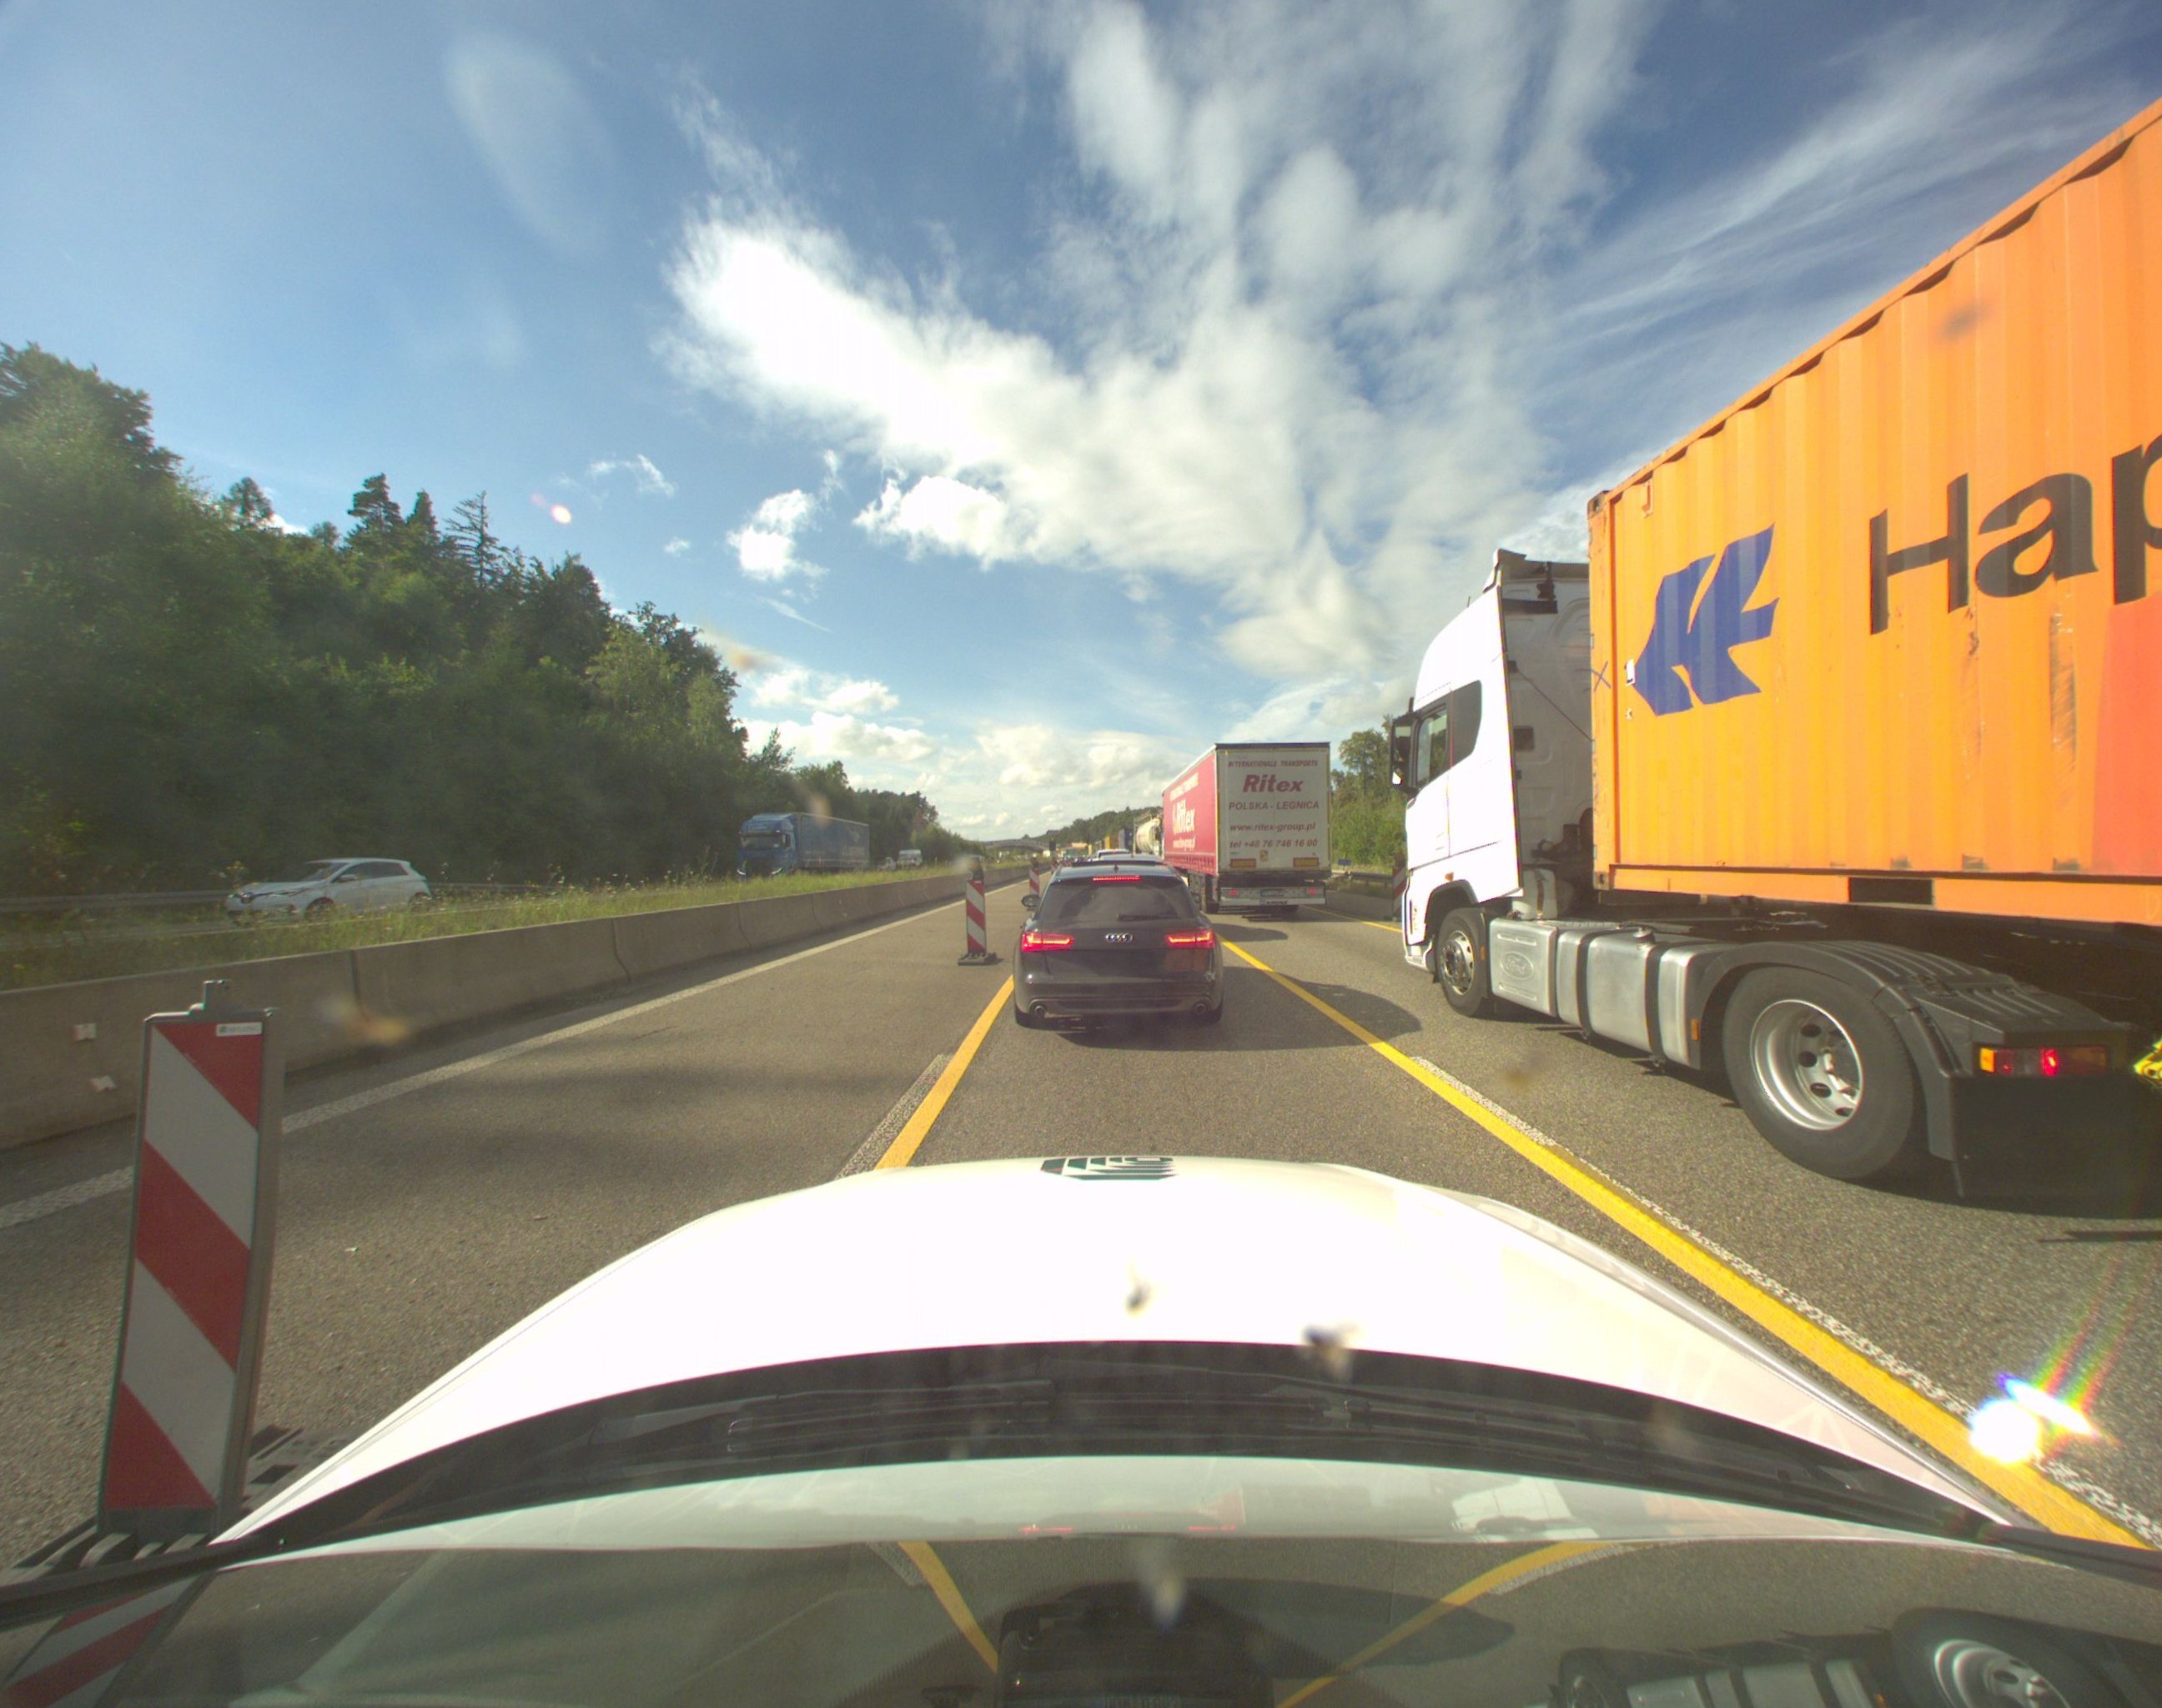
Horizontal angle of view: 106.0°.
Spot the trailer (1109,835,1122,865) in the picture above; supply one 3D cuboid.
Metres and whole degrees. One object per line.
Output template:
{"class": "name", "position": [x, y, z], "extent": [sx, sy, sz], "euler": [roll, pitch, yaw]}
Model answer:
{"class": "trailer", "position": [4.674, -0.449, 109.985], "extent": [1.611, 3.918, 6.490], "euler": [0, -1, 1]}

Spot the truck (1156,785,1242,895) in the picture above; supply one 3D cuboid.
{"class": "truck", "position": [4.504, -0.498, 32.105], "extent": [2.658, 3.959, 5.711], "euler": [0, 0, 1]}

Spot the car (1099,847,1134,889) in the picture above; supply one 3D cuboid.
{"class": "car", "position": [1.618, 0.637, 37.543], "extent": [1.575, 1.837, 3.113], "euler": [0, -1, 2]}

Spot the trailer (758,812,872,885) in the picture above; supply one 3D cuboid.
{"class": "trailer", "position": [-16.846, -0.313, 52.999], "extent": [2.610, 4.141, 13.377], "euler": [-1, 0, 2]}

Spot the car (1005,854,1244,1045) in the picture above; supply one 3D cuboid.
{"class": "car", "position": [0.403, 0.767, 8.372], "extent": [1.842, 1.463, 4.001], "euler": [-1, -1, 2]}

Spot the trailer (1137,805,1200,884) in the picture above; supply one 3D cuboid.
{"class": "trailer", "position": [4.828, -0.445, 47.025], "extent": [2.634, 3.943, 12.602], "euler": [0, 0, 2]}

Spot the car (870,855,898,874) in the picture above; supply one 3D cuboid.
{"class": "car", "position": [-21.345, 1.178, 88.294], "extent": [1.986, 2.014, 4.001], "euler": [0, -1, 2]}

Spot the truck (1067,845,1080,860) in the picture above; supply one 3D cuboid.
{"class": "truck", "position": [-2.202, -0.471, 242.127], "extent": [3.297, 4.175, 9.689], "euler": [-1, -1, -3]}

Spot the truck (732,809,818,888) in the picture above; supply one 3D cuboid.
{"class": "truck", "position": [-17.089, -0.293, 45.865], "extent": [2.628, 4.189, 5.469], "euler": [-1, 0, 2]}

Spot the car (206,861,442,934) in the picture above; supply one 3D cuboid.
{"class": "car", "position": [-17.768, 0.946, 19.415], "extent": [1.780, 1.560, 4.001], "euler": [0, -1, 2]}

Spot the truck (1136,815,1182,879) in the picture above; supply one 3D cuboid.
{"class": "truck", "position": [5.030, -0.417, 53.332], "extent": [2.649, 3.972, 5.780], "euler": [0, -1, 2]}

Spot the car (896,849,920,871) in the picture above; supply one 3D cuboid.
{"class": "car", "position": [-20.838, 0.750, 98.154], "extent": [2.247, 2.643, 5.009], "euler": [0, -1, -6]}

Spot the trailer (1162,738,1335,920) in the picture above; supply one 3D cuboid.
{"class": "trailer", "position": [4.351, -0.535, 24.590], "extent": [2.690, 3.969, 13.420], "euler": [0, 0, 1]}

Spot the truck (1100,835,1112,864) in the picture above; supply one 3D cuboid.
{"class": "truck", "position": [4.384, -0.826, 143.298], "extent": [1.987, 4.914, 9.562], "euler": [0, 0, 0]}

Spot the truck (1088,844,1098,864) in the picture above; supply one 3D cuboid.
{"class": "truck", "position": [2.624, 0.020, 175.619], "extent": [2.130, 4.257, 7.073], "euler": [0, -1, 1]}

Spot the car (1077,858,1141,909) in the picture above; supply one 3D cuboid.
{"class": "car", "position": [0.826, 0.823, 24.137], "extent": [1.745, 1.397, 3.609], "euler": [0, -1, 2]}

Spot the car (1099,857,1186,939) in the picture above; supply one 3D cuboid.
{"class": "car", "position": [1.133, 0.787, 15.903], "extent": [1.518, 1.439, 3.286], "euler": [0, -1, 2]}

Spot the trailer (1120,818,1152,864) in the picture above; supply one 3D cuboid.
{"class": "trailer", "position": [5.482, -1.170, 82.861], "extent": [2.795, 4.413, 10.436], "euler": [0, -1, 2]}

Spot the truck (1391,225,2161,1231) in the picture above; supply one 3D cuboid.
{"class": "truck", "position": [4.561, -0.478, 5.947], "extent": [2.485, 3.780, 5.791], "euler": [-1, 0, 1]}

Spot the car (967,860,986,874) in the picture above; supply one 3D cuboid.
{"class": "car", "position": [-12.938, 1.615, 101.075], "extent": [1.709, 1.706, 3.524], "euler": [0, -1, 2]}
